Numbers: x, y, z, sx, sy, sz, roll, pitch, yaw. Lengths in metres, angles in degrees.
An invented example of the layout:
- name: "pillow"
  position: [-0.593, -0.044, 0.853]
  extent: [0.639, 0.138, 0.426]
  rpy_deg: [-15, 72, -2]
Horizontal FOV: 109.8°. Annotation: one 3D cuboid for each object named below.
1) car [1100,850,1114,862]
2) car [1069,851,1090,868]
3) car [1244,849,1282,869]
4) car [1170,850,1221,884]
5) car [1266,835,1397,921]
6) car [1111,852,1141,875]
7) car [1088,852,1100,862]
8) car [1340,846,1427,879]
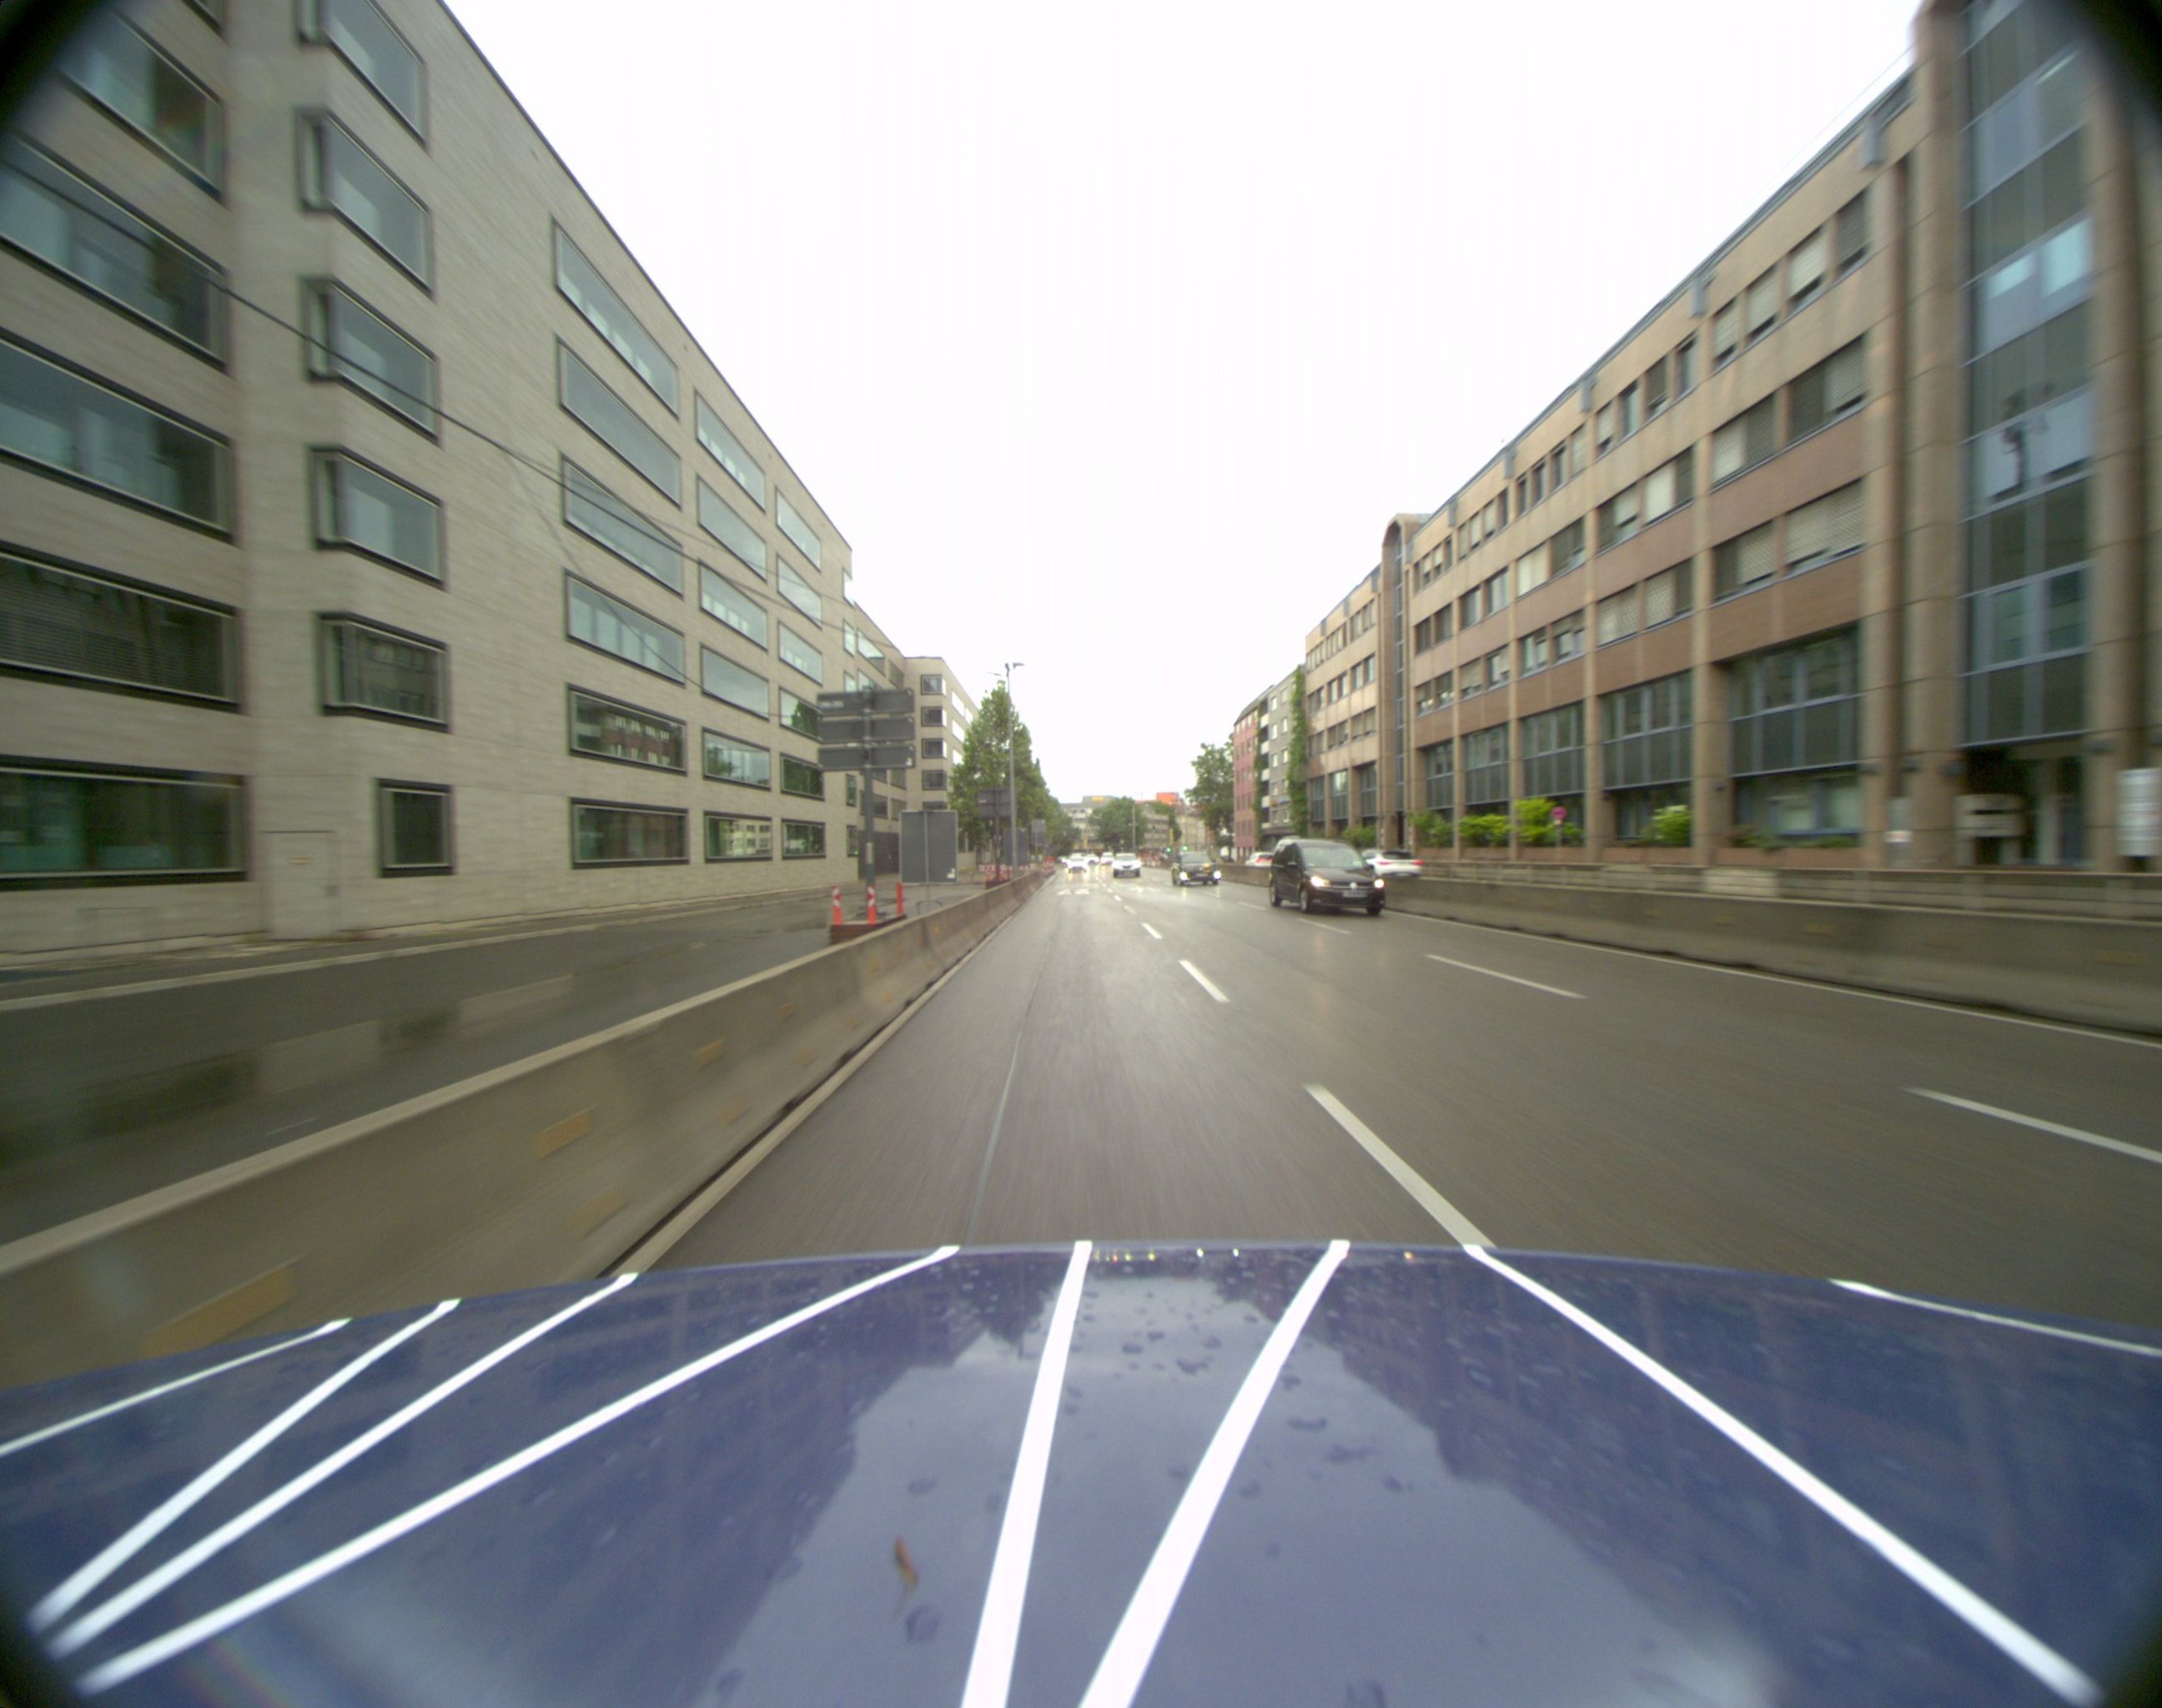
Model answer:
- name: "car"
  position: [3.626, 0.287, 106.065]
  extent: [1.772, 1.524, 4.655]
  rpy_deg: [-1, 0, 0]
- name: "car"
  position: [-0.145, 0.463, 70.384]
  extent: [1.772, 1.524, 4.655]
  rpy_deg: [-1, 0, 0]
- name: "car"
  position: [12.701, 0.303, 53.218]
  extent: [1.724, 1.312, 3.696]
  rpy_deg: [-1, 0, 0]
- name: "car"
  position: [5.481, 0.584, 36.727]
  extent: [1.772, 1.524, 4.355]
  rpy_deg: [-1, 0, 0]
- name: "car"
  position: [5.881, 0.505, 18.411]
  extent: [1.798, 1.790, 4.250]
  rpy_deg: [-1, 0, 1]
- name: "car"
  position: [3.092, 0.628, 53.037]
  extent: [1.772, 1.524, 4.655]
  rpy_deg: [-1, 0, 0]
- name: "car"
  position: [2.003, 0.462, 119.272]
  extent: [1.772, 1.524, 4.655]
  rpy_deg: [-1, 0, 0]
- name: "car"
  position: [12.807, 0.339, 32.489]
  extent: [1.849, 1.262, 4.549]
  rpy_deg: [-1, 0, 0]
